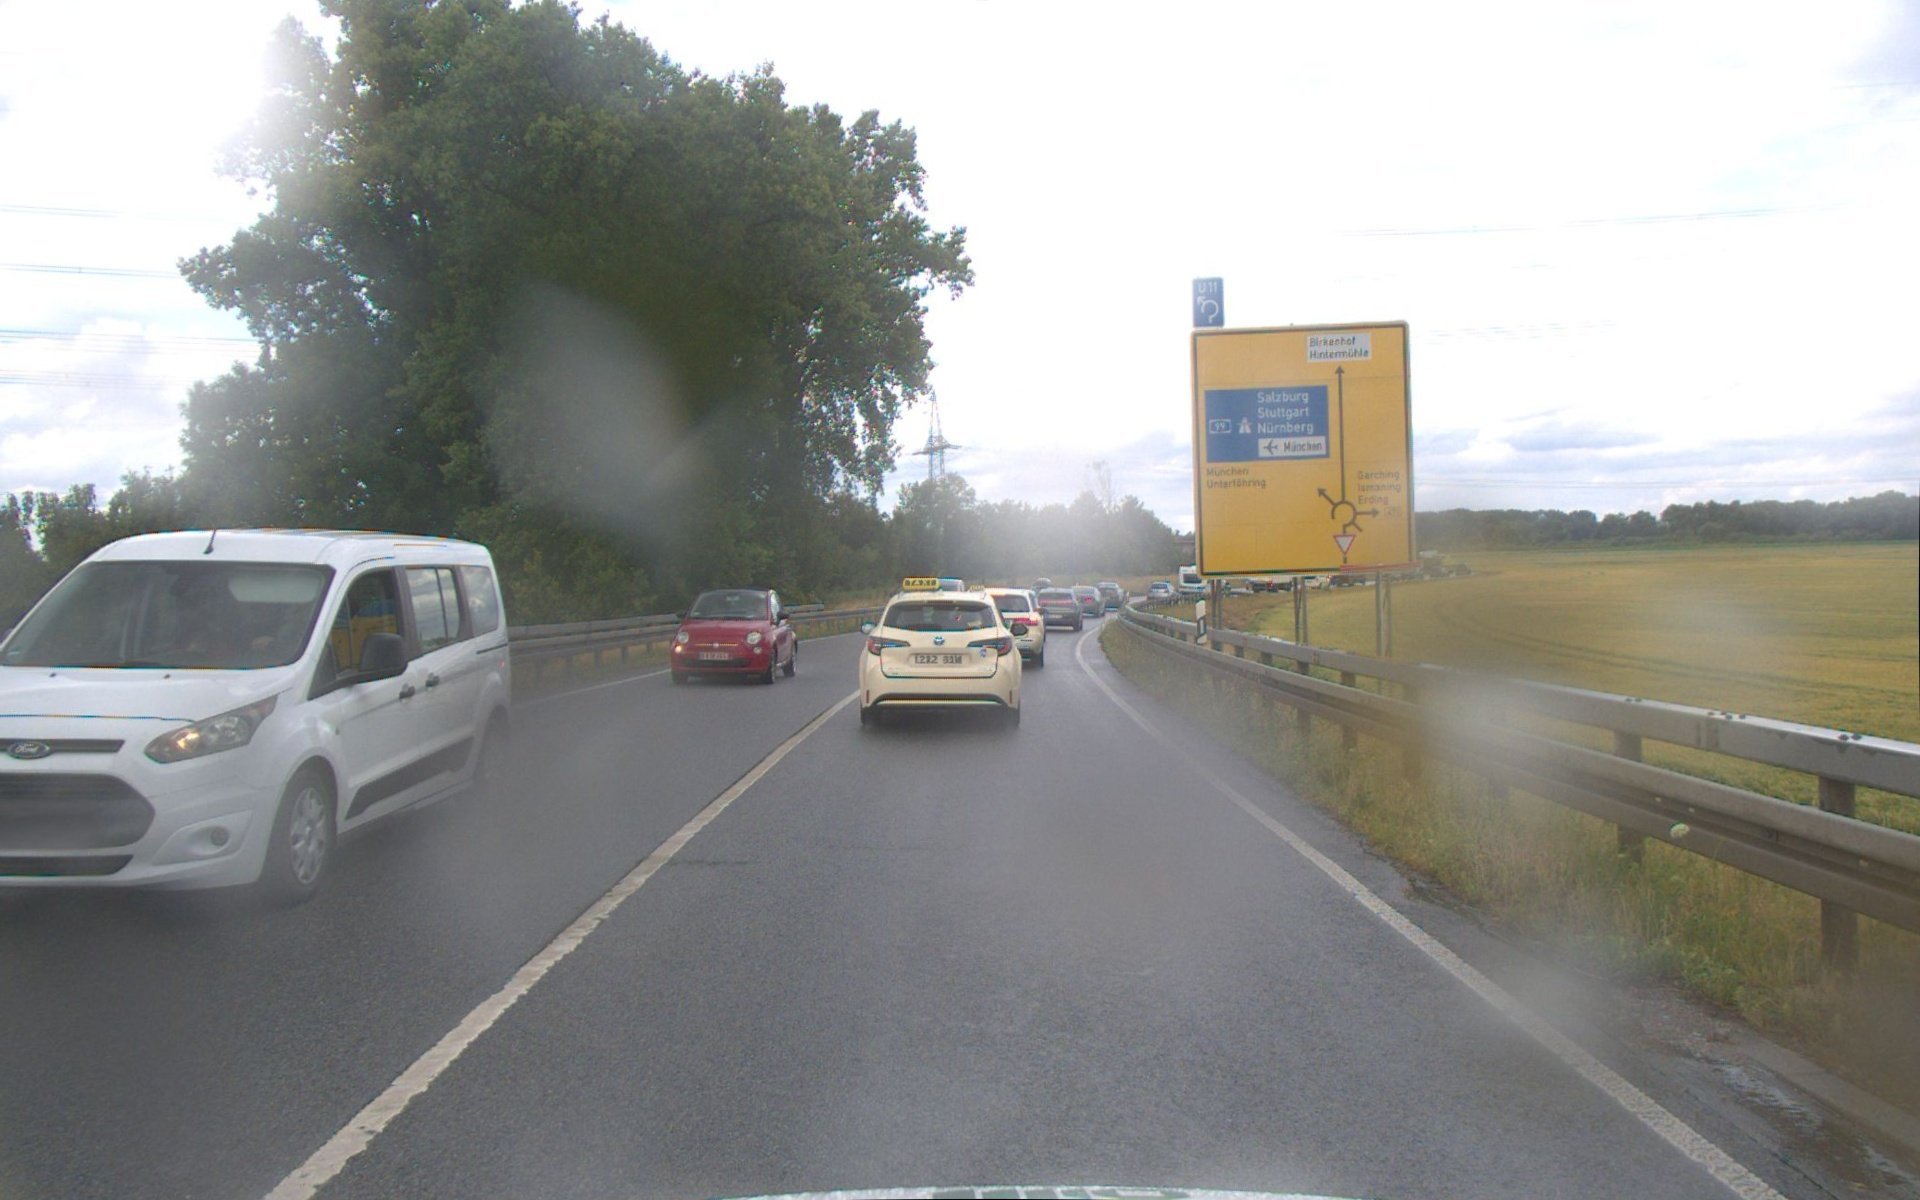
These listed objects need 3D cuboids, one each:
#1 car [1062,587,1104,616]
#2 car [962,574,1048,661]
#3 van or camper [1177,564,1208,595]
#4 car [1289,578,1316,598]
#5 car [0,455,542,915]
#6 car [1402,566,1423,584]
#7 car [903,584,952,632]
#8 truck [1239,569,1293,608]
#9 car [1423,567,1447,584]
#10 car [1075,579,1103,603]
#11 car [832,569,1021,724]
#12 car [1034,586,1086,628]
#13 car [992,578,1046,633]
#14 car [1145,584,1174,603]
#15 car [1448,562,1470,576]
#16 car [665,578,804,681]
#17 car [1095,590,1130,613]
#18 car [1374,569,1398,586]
[{"bbox_3d":[6.217,0.104,83.152,1.625,1.434,3.907,0,-1,11],"label":"car"},{"bbox_3d":[0.917,0.318,32.016,1.545,1.600,3.683,0,0,3],"label":"car"},{"bbox_3d":[18.364,-1.607,130.603,1.951,2.293,4.002,0,-1,16],"label":"van or camper"},{"bbox_3d":[36.232,-1.237,174.795,2.122,2.049,3.999,0,-1,23],"label":"car"},{"bbox_3d":[-3.834,0.325,9.164,1.823,1.925,4.490,0,1,1],"label":"car"},{"bbox_3d":[56.870,-3.103,207.631,1.953,2.049,3.998,-2,-1,23],"label":"car"},{"bbox_3d":[-1.166,0.293,60.572,1.488,1.702,3.808,0,0,3],"label":"car"},{"bbox_3d":[29.315,-1.032,158.062,3.079,3.624,7.513,0,-1,27],"label":"truck"},{"bbox_3d":[62.771,-3.235,218.575,1.958,2.049,3.989,0,-1,32],"label":"car"},{"bbox_3d":[9.504,-0.657,121.506,1.485,1.751,3.423,0,0,15],"label":"car"},{"bbox_3d":[-0.266,0.469,18.899,1.866,1.564,4.163,0,0,3],"label":"car"},{"bbox_3d":[3.636,0.247,59.960,1.629,1.489,3.479,0,0,8],"label":"car"},{"bbox_3d":[1.656,0.151,46.731,1.474,1.462,3.356,0,0,2],"label":"car"},{"bbox_3d":[14.001,-0.463,116.178,1.451,1.332,3.479,0,0,16],"label":"car"},{"bbox_3d":[71.858,-4.434,238.329,1.734,2.049,3.982,0,1,38],"label":"car"},{"bbox_3d":[-3.574,0.413,26.873,1.576,1.512,4.001,0,1,2],"label":"car"},{"bbox_3d":[8.978,0.096,97.315,1.451,1.332,3.479,0,0,16],"label":"car"},{"bbox_3d":[51.262,-2.704,198.845,2.181,2.049,3.998,0,-1,23],"label":"car"}]
